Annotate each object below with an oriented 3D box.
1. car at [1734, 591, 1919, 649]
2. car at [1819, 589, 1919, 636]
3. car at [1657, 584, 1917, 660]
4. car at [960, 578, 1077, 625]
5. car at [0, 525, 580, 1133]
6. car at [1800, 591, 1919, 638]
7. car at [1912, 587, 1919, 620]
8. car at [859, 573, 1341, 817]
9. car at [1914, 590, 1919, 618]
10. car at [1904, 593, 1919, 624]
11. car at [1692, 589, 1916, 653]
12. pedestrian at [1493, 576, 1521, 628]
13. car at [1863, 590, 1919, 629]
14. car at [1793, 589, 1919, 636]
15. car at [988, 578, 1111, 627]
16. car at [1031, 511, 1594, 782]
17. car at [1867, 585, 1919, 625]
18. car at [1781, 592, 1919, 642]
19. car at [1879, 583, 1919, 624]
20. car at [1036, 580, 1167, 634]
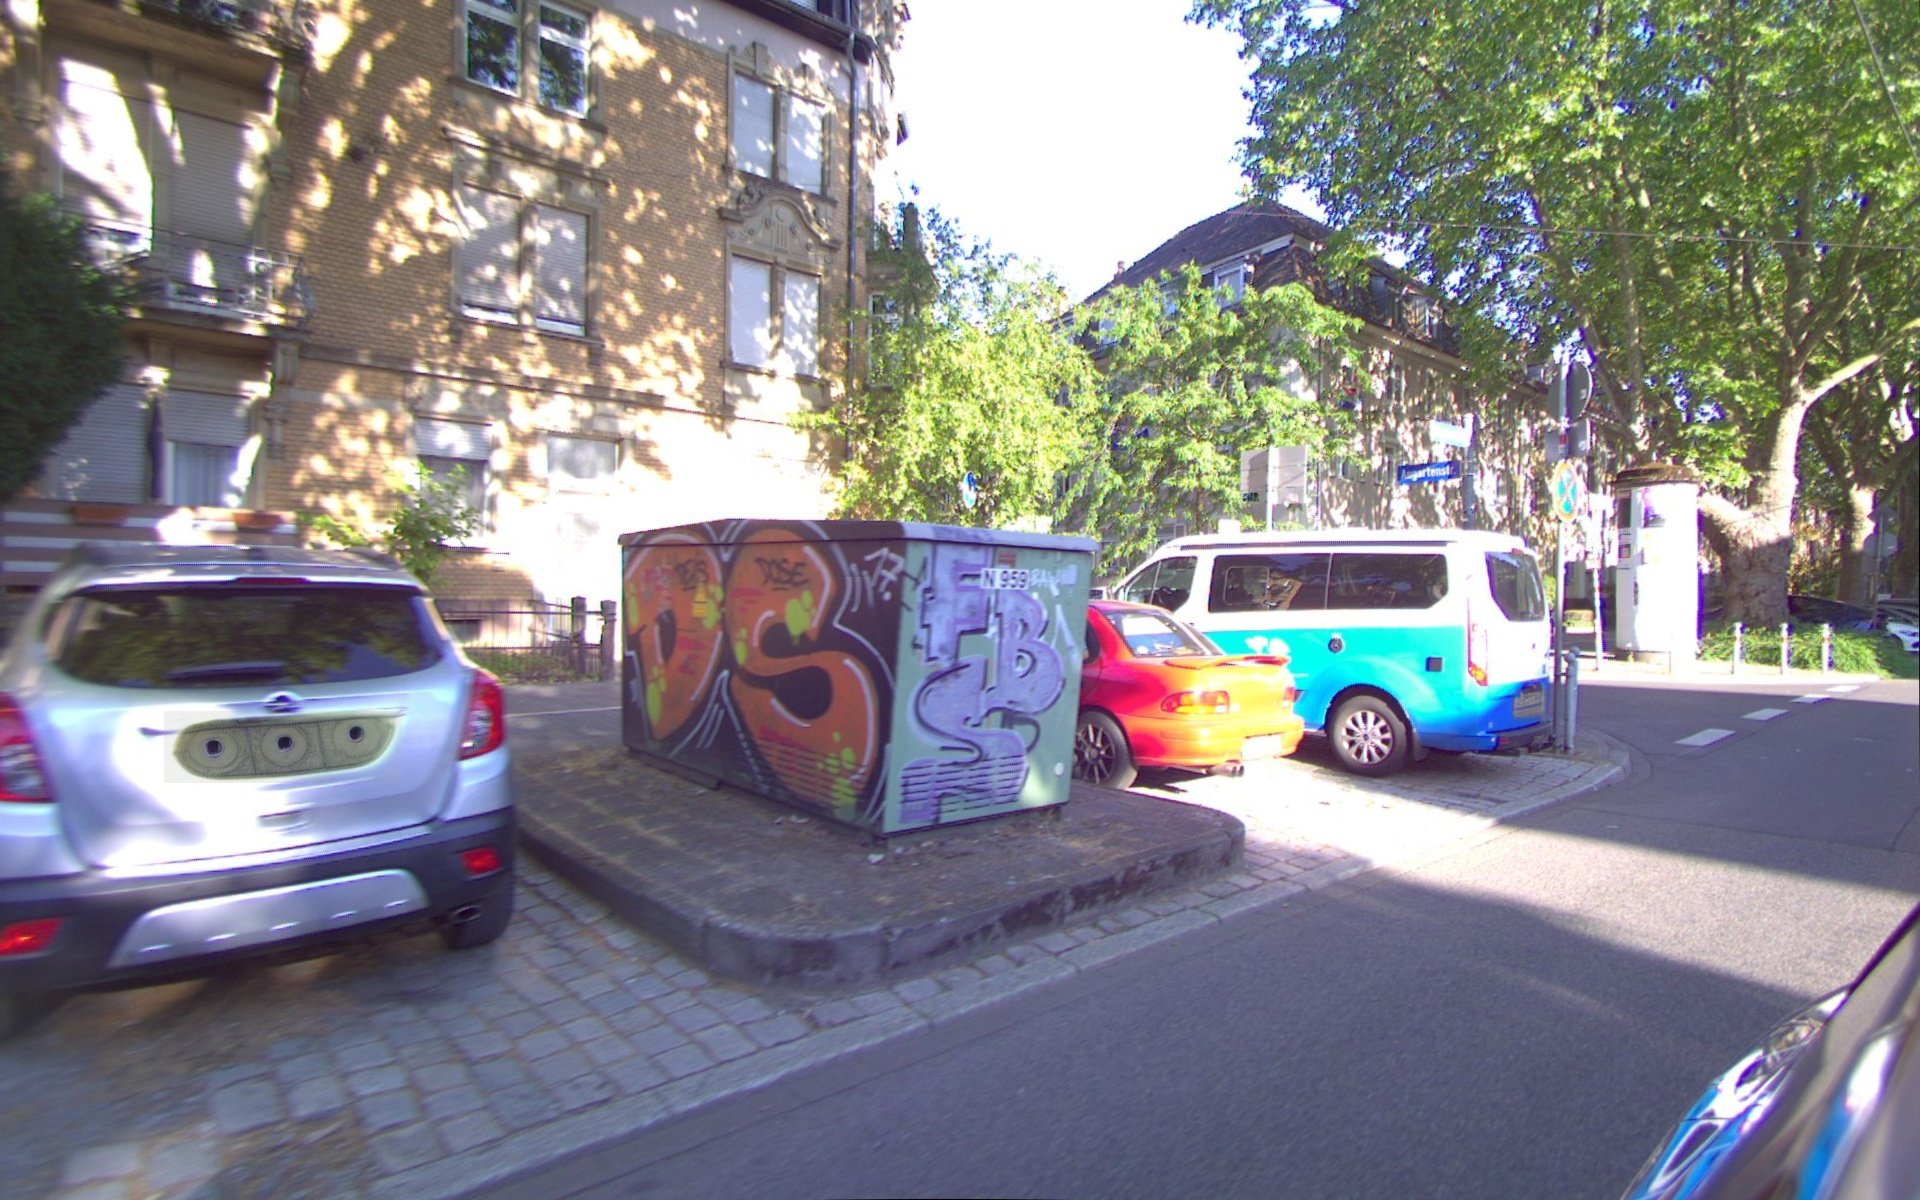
[{"bbox_3d":[26.088,0.552,30.021,1.858,1.513,4.614,1,1,-37],"label":"car"},{"bbox_3d":[35.594,0.484,38.135,1.858,1.661,4.614,1,1,-37],"label":"car"},{"bbox_3d":[20.629,0.486,25.438,1.859,1.651,4.808,1,1,-40],"label":"car"},{"bbox_3d":[2.123,0.042,36.430,3.921,1.602,1.732,0,1,-31],"label":"car"},{"bbox_3d":[-3.339,0.537,4.579,1.760,1.639,3.788,0,2,-42],"label":"car"},{"bbox_3d":[32.452,0.513,35.242,1.858,1.513,4.614,1,1,-37],"label":"car"},{"bbox_3d":[55.832,0.281,55.794,1.858,1.814,4.614,1,1,-37],"label":"car"},{"bbox_3d":[0.990,0.579,8.580,1.760,1.506,3.788,0,2,-42],"label":"car"},{"bbox_3d":[61.039,0.329,61.203,1.858,1.736,4.614,1,1,-37],"label":"car"},{"bbox_3d":[53.998,0.515,54.314,1.858,1.661,4.614,1,1,-37],"label":"car"},{"bbox_3d":[22.444,0.500,27.040,1.860,1.462,4.363,1,1,-42],"label":"car"},{"bbox_3d":[19.016,0.056,35.212,0.630,1.790,0.620,1,0,4],"label":"pedestrian"},{"bbox_3d":[43.479,0.457,45.074,1.858,1.661,4.614,1,1,-37],"label":"car"},{"bbox_3d":[33.830,0.462,37.229,1.858,1.585,4.614,1,1,-37],"label":"car"},{"bbox_3d":[3.069,0.068,34.488,3.921,1.602,1.732,0,1,-31],"label":"car"},{"bbox_3d":[3.239,0.244,10.124,2.158,2.038,4.852,0,2,-43],"label":"car"},{"bbox_3d":[45.228,0.280,46.825,1.858,1.814,4.614,1,1,-37],"label":"car"},{"bbox_3d":[30.664,0.556,33.899,1.858,1.513,4.614,1,1,-37],"label":"car"},{"bbox_3d":[49.675,0.237,51.036,1.858,2.039,4.639,1,1,-37],"label":"car"},{"bbox_3d":[4.522,0.195,32.282,3.921,1.602,1.732,0,1,-31],"label":"car"}]
